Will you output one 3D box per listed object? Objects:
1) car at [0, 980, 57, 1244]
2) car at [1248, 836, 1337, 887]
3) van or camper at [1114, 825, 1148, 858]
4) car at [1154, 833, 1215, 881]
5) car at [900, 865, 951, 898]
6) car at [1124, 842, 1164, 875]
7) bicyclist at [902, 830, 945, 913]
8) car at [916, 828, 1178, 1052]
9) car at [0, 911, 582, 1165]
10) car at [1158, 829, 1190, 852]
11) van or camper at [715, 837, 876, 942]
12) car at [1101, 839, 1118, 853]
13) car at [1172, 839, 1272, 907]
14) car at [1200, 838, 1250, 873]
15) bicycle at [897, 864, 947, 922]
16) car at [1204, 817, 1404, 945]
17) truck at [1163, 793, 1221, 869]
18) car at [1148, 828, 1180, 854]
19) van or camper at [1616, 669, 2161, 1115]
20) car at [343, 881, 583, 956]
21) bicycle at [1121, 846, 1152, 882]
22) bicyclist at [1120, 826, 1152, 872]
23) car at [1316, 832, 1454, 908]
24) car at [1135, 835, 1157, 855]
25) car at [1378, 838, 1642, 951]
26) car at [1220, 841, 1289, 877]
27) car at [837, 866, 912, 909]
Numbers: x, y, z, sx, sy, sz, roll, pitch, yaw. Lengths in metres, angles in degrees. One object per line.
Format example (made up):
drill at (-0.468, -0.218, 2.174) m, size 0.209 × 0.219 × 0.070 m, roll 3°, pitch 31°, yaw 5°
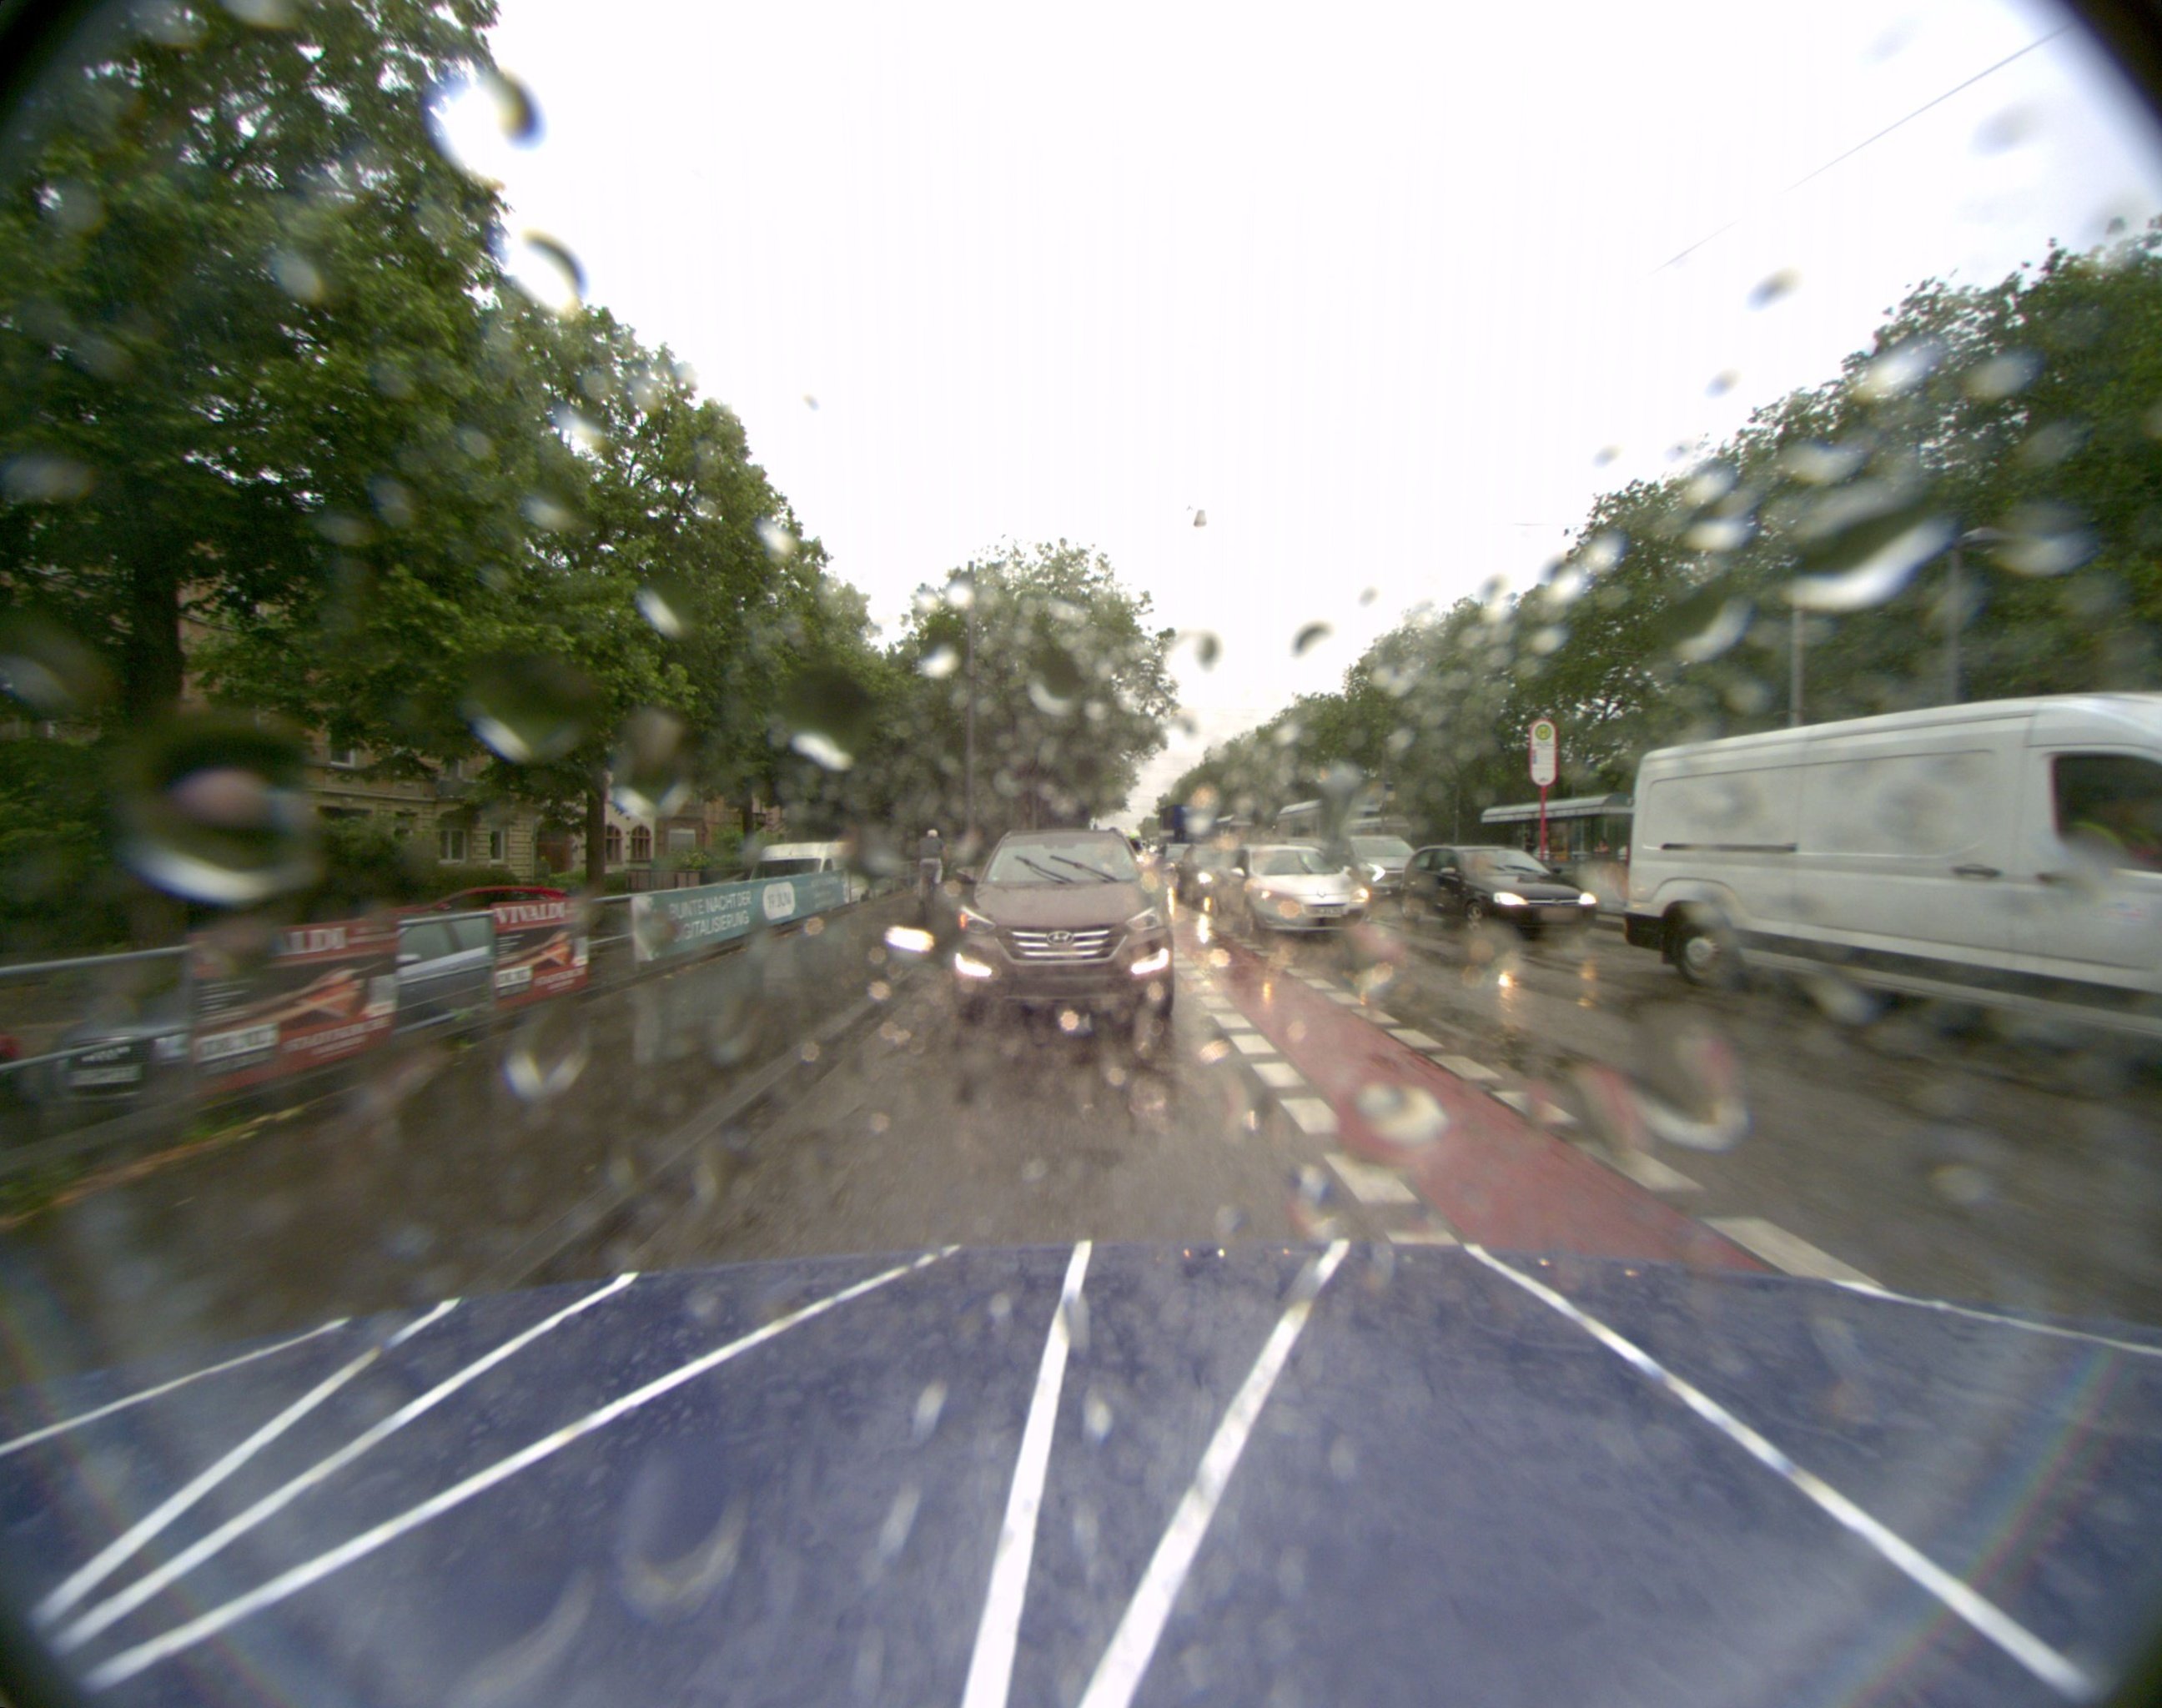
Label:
car at (-7.021, 1.503, 2.419) m, size 1.750 × 1.455 × 4.216 m, roll -1°, pitch 0°, yaw 0°
car at (7.317, 0.242, 26.747) m, size 1.913 × 1.637 × 4.190 m, roll -1°, pitch 0°, yaw -1°
van or camper at (3.956, -0.935, 60.906) m, size 2.144 × 2.484 × 5.712 m, roll -1°, pitch 0°, yaw -1°
car at (3.860, 0.096, 28.994) m, size 1.912 × 1.637 × 4.191 m, roll -1°, pitch 0°, yaw 2°
car at (-7.774, 1.350, 38.319) m, size 1.704 × 1.364 × 3.999 m, roll -2°, pitch 1°, yaw 0°
car at (3.649, 0.239, 44.656) m, size 1.998 × 1.737 × 3.999 m, roll -2°, pitch 2°, yaw 0°
bicyclist at (-3.195, 0.347, 15.474) m, size 0.738 × 1.646 × 0.877 m, roll 0°, pitch 1°, yaw -5°
car at (-0.161, 0.644, 8.010) m, size 1.912 × 1.637 × 4.681 m, roll -1°, pitch 0°, yaw 2°
car at (-7.235, 1.474, 7.516) m, size 1.731 × 1.461 × 4.216 m, roll -1°, pitch 0°, yaw 1°
car at (7.268, -1.073, 59.890) m, size 1.998 × 1.706 × 3.999 m, roll -2°, pitch 2°, yaw 0°
van or camper at (-7.927, 0.887, 21.961) m, size 2.332 × 2.576 × 6.096 m, roll -1°, pitch 0°, yaw 0°
car at (3.387, -0.976, 91.341) m, size 1.998 × 1.571 × 3.999 m, roll -2°, pitch 2°, yaw 1°
car at (3.545, 0.435, 19.984) m, size 1.912 × 1.540 × 4.667 m, roll -1°, pitch 0°, yaw 2°
car at (7.208, 0.071, 38.306) m, size 1.912 × 1.637 × 4.191 m, roll -1°, pitch 0°, yaw 3°
bicycle at (-3.174, 0.760, 15.342) m, size 0.740 × 1.066 × 1.865 m, roll 0°, pitch 0°, yaw -4°
car at (3.447, 0.372, 12.678) m, size 1.975 × 1.731 × 4.266 m, roll -1°, pitch 0°, yaw -1°
truck at (6.824, -1.322, 47.728) m, size 2.417 × 4.252 × 8.353 m, roll -1°, pitch 0°, yaw 0°
car at (7.289, -1.204, 67.482) m, size 2.344 × 2.138 × 5.452 m, roll -2°, pitch 2°, yaw 2°
van or camper at (7.033, 0.190, 5.415) m, size 2.181 × 2.456 × 5.969 m, roll -1°, pitch 0°, yaw -1°
car at (-14.698, 1.477, 18.438) m, size 4.294 × 1.461 × 1.705 m, roll -1°, pitch 0°, yaw -32°
bicycle at (1.829, 0.315, 25.321) m, size 0.818 × 1.082 × 1.997 m, roll -2°, pitch 2°, yaw 0°
bicyclist at (1.814, -0.165, 25.225) m, size 0.927 × 1.462 × 0.805 m, roll -2°, pitch 2°, yaw 0°
car at (7.320, 0.351, 18.790) m, size 1.847 × 1.625 × 4.248 m, roll -1°, pitch 0°, yaw 2°
car at (6.923, -0.961, 81.741) m, size 1.998 × 2.002 × 4.000 m, roll -1°, pitch 0°, yaw 0°
car at (6.768, 0.545, 12.683) m, size 1.786 × 1.504 × 4.556 m, roll -1°, pitch 0°, yaw 0°
car at (7.259, 0.189, 32.253) m, size 1.913 × 1.399 × 4.190 m, roll -1°, pitch 0°, yaw -1°
car at (-7.825, 1.220, 29.135) m, size 1.630 × 1.341 × 4.215 m, roll -1°, pitch 1°, yaw 1°
